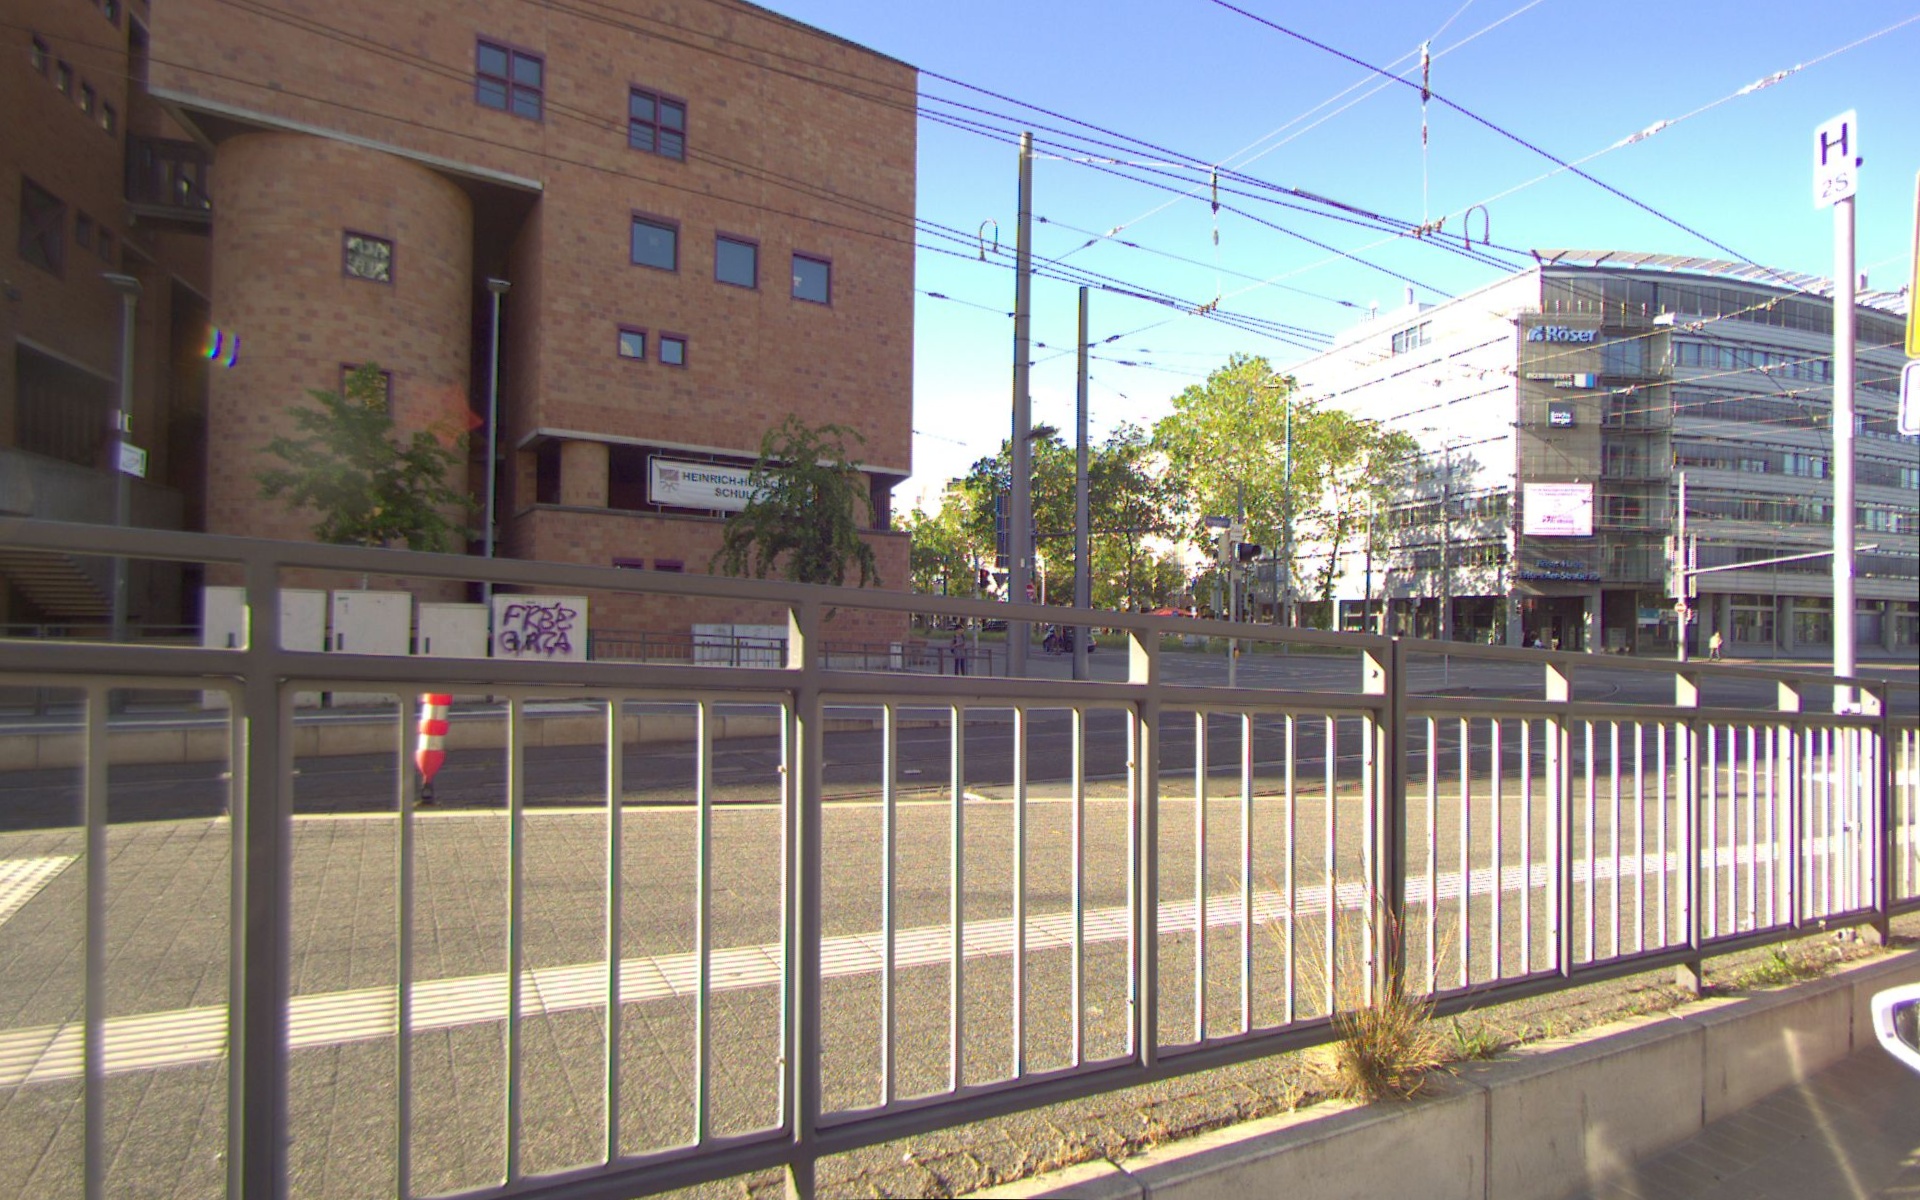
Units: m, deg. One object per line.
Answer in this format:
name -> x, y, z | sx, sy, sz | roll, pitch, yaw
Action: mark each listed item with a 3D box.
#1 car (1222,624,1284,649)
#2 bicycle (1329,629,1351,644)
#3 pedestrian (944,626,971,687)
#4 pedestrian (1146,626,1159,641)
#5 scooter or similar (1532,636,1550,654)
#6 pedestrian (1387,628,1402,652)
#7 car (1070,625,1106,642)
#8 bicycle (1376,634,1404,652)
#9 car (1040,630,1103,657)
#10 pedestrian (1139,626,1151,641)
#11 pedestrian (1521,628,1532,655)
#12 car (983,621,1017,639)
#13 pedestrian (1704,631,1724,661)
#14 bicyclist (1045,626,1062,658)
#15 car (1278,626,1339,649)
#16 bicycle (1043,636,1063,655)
car -> 23.568, 2.912, 80.953 | 1.904, 1.868, 4.889 | -1, 0, -28
bicycle -> 29.904, 2.887, 78.952 | 1.812, 1.167, 0.467 | 0, 0, -23
pedestrian -> -0.064, 1.548, 27.781 | 0.501, 1.638, 0.504 | 2, 0, -40
pedestrian -> 20.662, 3.613, 107.879 | 0.861, 1.567, 0.988 | 2, -1, -25
scooter or similar -> 38.006, 2.966, 65.724 | 1.001, 1.144, 0.549 | 0, -1, 32
pedestrian -> 30.471, 2.798, 70.449 | 0.599, 1.633, 0.831 | -2, 2, -29
car -> 12.938, 3.399, 101.894 | 1.840, 1.660, 3.844 | 1, -1, -25
bicycle -> 30.049, 3.010, 70.260 | 0.605, 1.179, 1.835 | -2, 2, -27
car -> 6.215, 2.421, 56.201 | 1.637, 1.346, 3.591 | 2, 0, -31
pedestrian -> 20.068, 3.601, 109.062 | 0.860, 1.567, 0.989 | 1, -1, -22
pedestrian -> 37.307, 2.741, 66.155 | 0.627, 1.731, 0.580 | 1, -1, 31
car -> 4.690, 3.463, 117.193 | 2.011, 2.003, 4.382 | 0, -1, -29
pedestrian -> 48.033, 2.938, 63.953 | 0.873, 1.847, 0.673 | 2, -2, -24
bicyclist -> 4.854, 2.160, 52.233 | 0.614, 1.643, 0.812 | 2, -1, -16
car -> 26.333, 2.819, 76.067 | 1.840, 1.594, 4.387 | -1, 0, -25
bicycle -> 4.841, 2.348, 52.236 | 0.528, 0.925, 1.564 | 1, -1, -15
